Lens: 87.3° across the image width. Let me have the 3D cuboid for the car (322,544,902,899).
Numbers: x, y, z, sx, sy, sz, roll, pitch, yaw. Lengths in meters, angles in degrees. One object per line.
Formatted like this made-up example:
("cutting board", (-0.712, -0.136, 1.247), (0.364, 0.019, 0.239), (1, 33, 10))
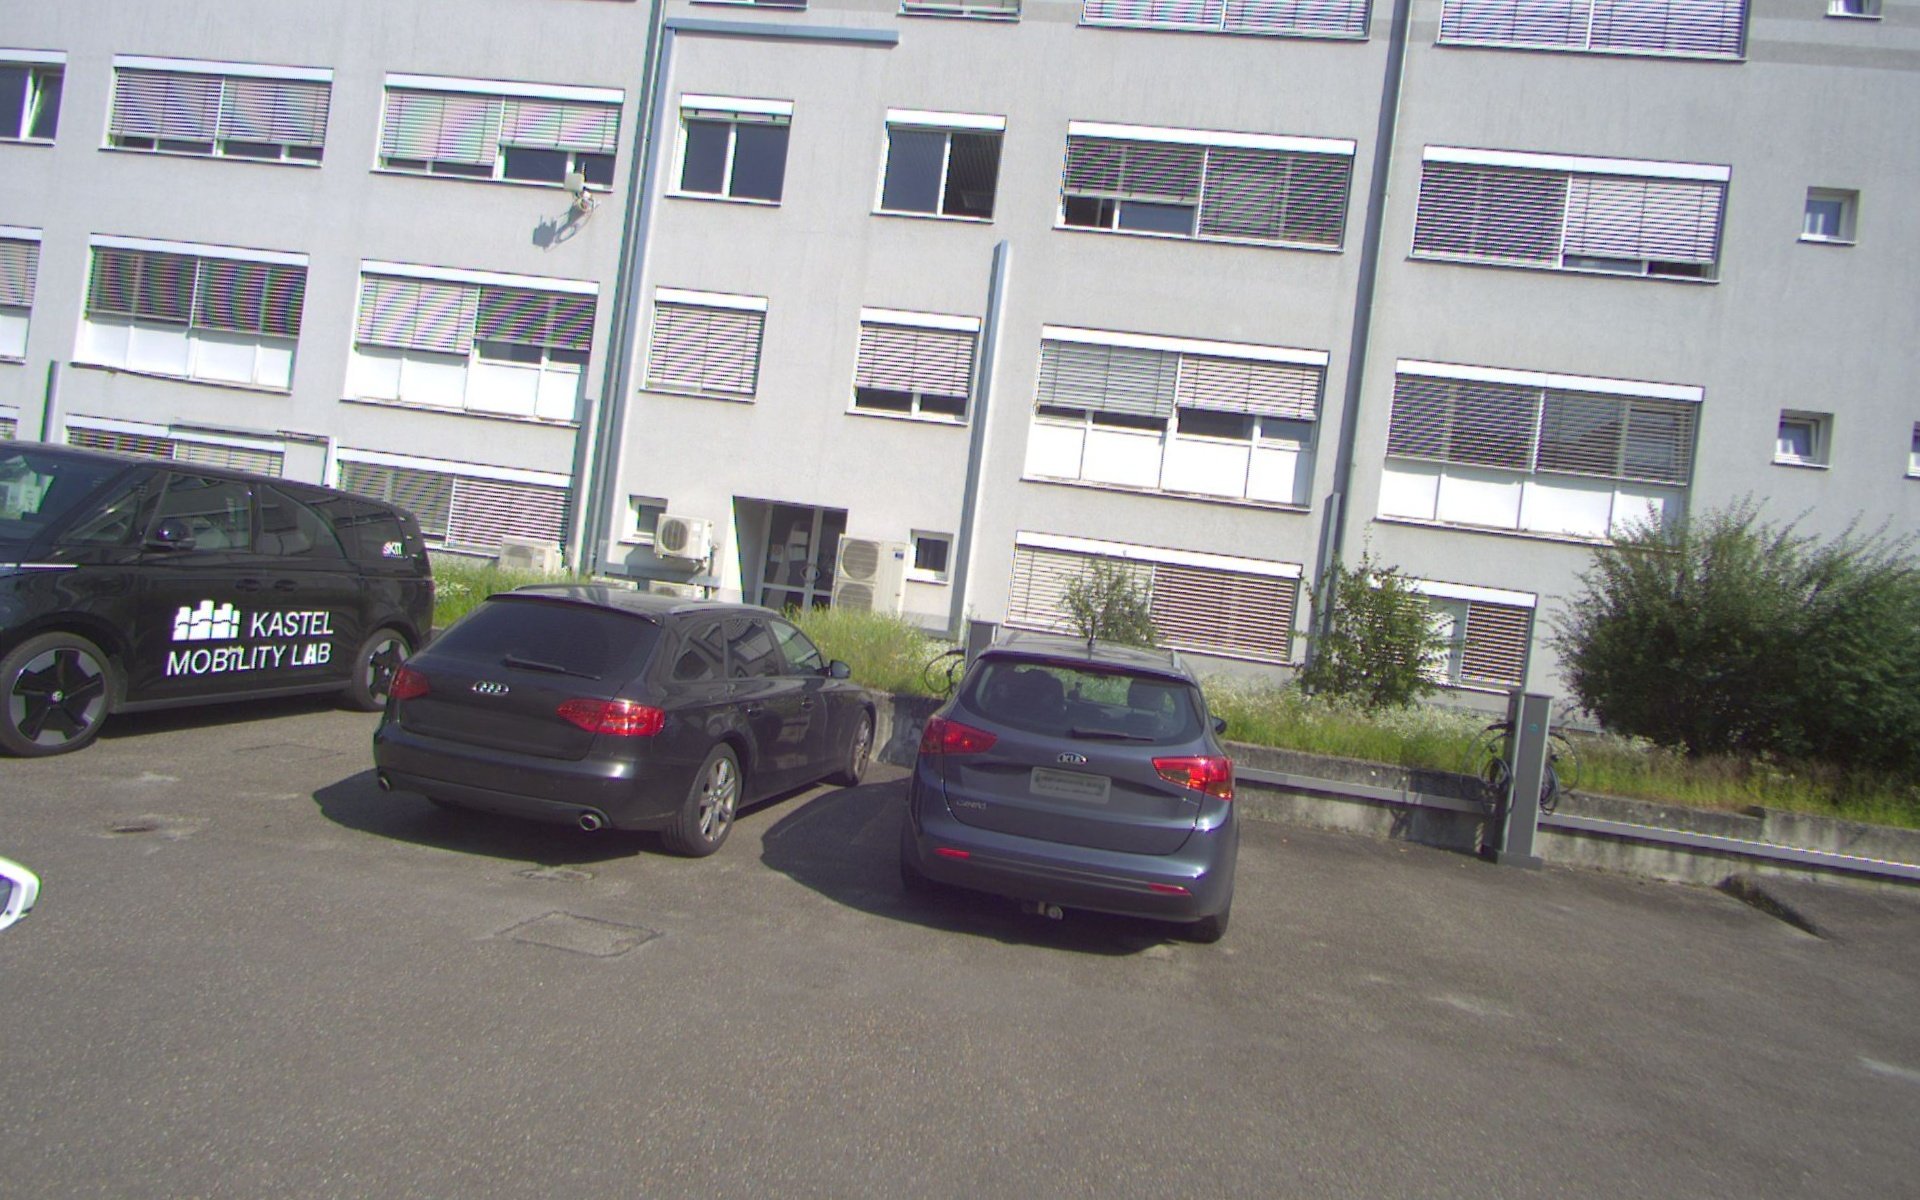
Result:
("car", (-1.844, 0.651, 6.906), (1.658, 1.454, 4.250), (8, -1, 12))

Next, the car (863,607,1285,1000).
("car", (0.801, 0.971, 6.526), (1.709, 1.495, 4.063), (8, -1, 9))

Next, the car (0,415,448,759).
("car", (-6.021, -0.131, 7.350), (1.879, 1.881, 4.351), (8, -1, 4))

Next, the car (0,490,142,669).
("car", (-8.809, -0.284, 7.756), (1.632, 1.483, 3.910), (8, -1, 1))
